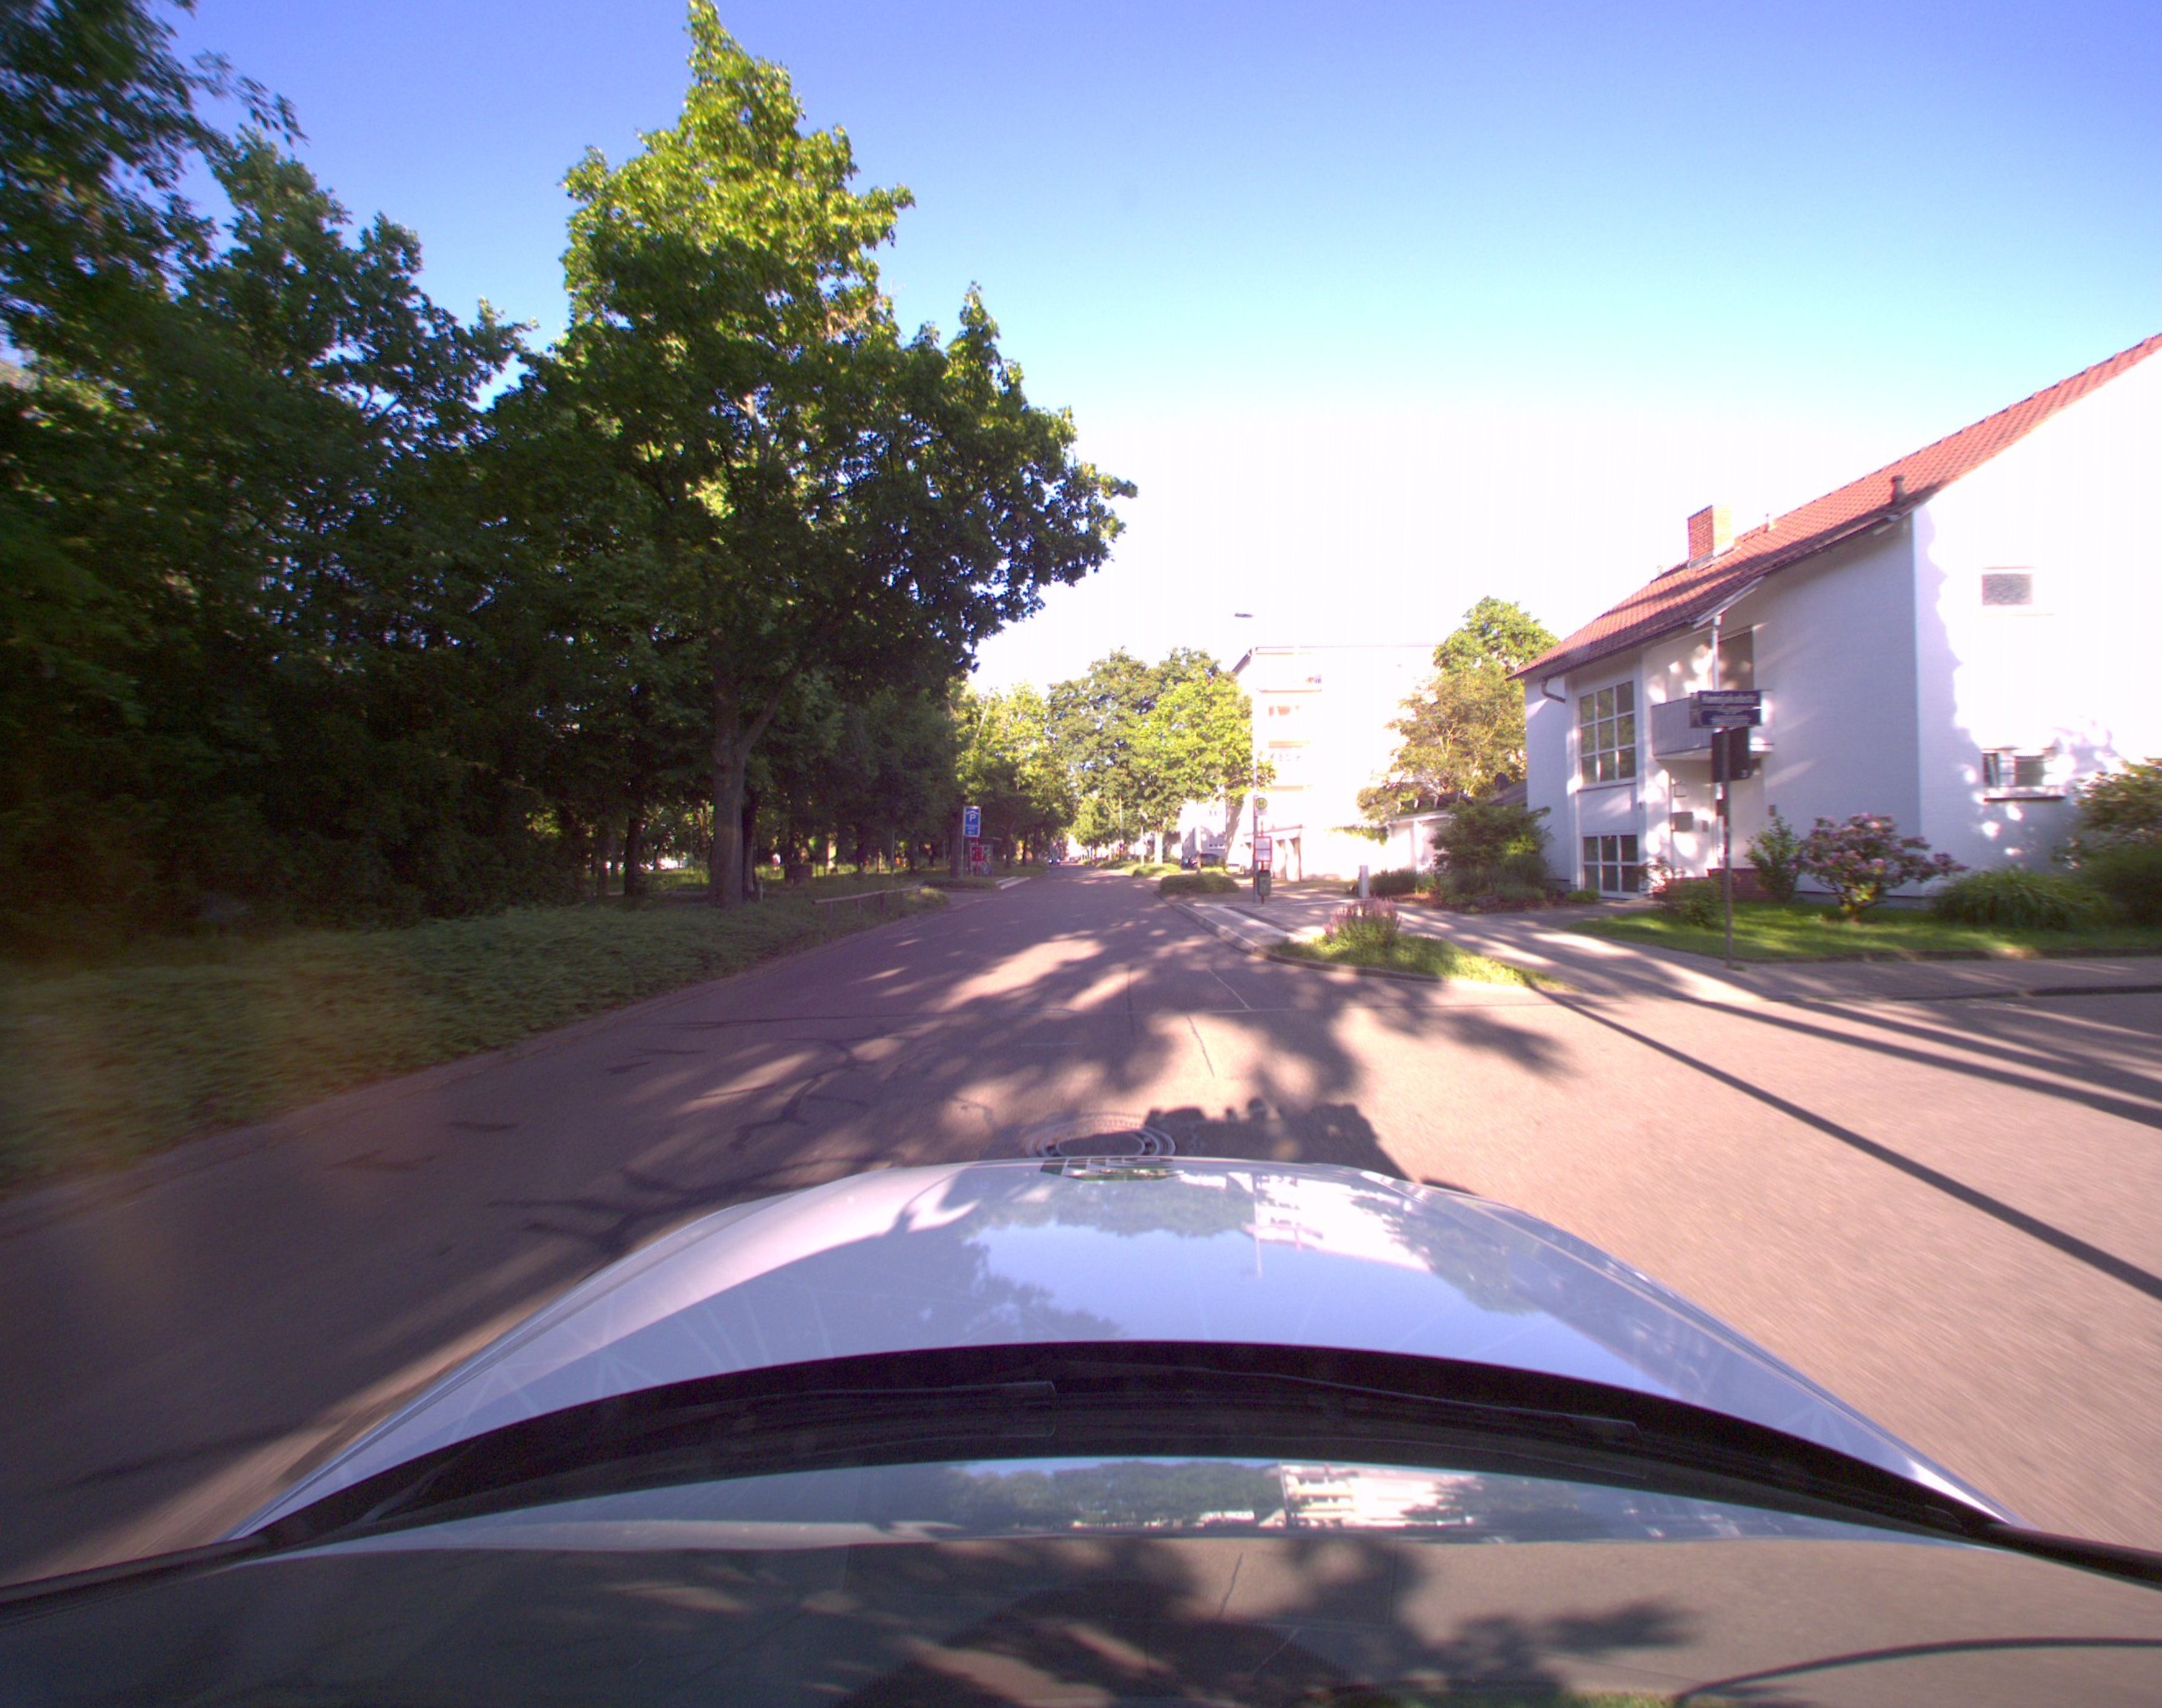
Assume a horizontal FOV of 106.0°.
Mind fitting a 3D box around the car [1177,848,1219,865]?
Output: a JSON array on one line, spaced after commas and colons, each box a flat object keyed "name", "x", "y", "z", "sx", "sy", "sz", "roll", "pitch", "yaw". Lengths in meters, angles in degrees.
[{"name": "car", "x": 11.890, "y": 0.254, "z": 82.814, "sx": 3.979, "sy": 1.581, "sz": 1.808, "roll": -1, "pitch": 1, "yaw": -4}]

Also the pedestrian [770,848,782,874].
[{"name": "pedestrian", "x": -24.488, "y": 0.551, "z": 65.326, "sx": 0.755, "sy": 2.014, "sz": 0.589, "roll": 0, "pitch": 0, "yaw": -3}]

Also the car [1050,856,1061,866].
[{"name": "car", "x": -4.496, "y": 1.186, "z": 142.674, "sx": 1.839, "sy": 1.578, "sz": 4.332, "roll": -3, "pitch": 0, "yaw": -2}]

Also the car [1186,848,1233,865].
[{"name": "car", "x": 11.817, "y": 0.203, "z": 75.138, "sx": 4.030, "sy": 1.514, "sz": 1.725, "roll": 0, "pitch": -1, "yaw": -3}]

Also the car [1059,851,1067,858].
[{"name": "car", "x": -5.429, "y": 0.080, "z": 244.813, "sx": 1.809, "sy": 1.925, "sz": 3.991, "roll": 0, "pitch": 0, "yaw": -6}]

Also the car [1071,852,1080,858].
[{"name": "car", "x": -1.404, "y": 0.290, "z": 216.315, "sx": 1.812, "sy": 1.501, "sz": 3.986, "roll": -1, "pitch": 0, "yaw": -10}]

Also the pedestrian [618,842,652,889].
[{"name": "pedestrian", "x": -17.327, "y": 0.437, "z": 31.671, "sx": 0.900, "sy": 1.821, "sz": 0.720, "roll": 0, "pitch": 0, "yaw": -2}]
